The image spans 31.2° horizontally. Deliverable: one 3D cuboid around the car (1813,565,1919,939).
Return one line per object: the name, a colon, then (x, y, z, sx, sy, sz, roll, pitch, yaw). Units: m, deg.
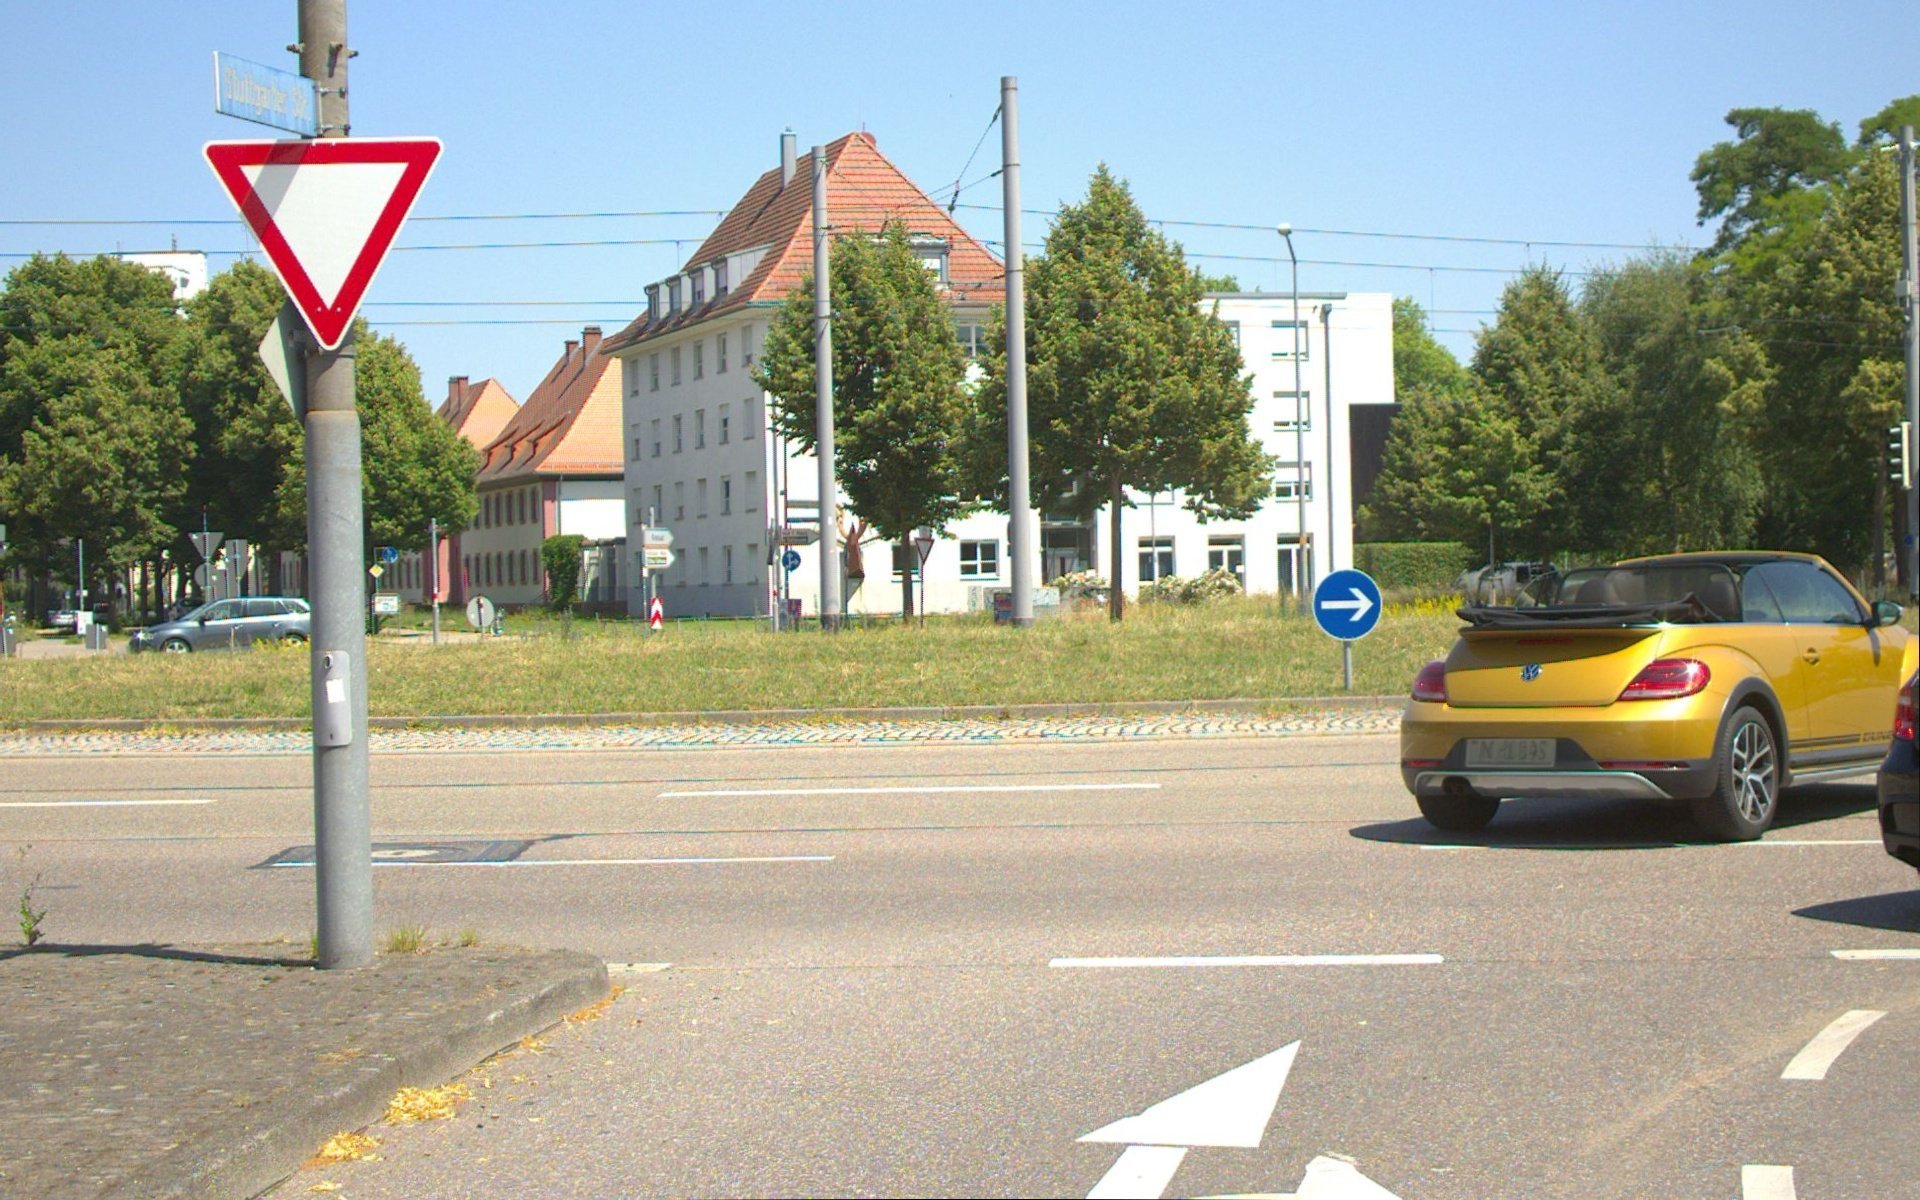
car: (5.587, 0.548, 14.052, 3.987, 1.435, 1.803, -2, 2, -32)

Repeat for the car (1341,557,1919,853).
car: (3.745, 0.476, 18.286, 1.829, 1.398, 3.654, 0, 1, 36)

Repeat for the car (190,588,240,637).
car: (-31.007, 0.498, 143.096, 1.993, 2.007, 4.001, 0, 0, -12)

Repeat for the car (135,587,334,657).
car: (-15.597, 0.469, 73.872, 3.986, 1.459, 2.001, 0, 0, -19)

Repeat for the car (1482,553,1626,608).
car: (18.573, -0.606, 107.577, 3.986, 1.678, 2.000, 0, 0, -11)

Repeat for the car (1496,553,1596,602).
car: (24.673, -0.948, 144.727, 3.990, 2.007, 1.998, 0, 0, 16)
